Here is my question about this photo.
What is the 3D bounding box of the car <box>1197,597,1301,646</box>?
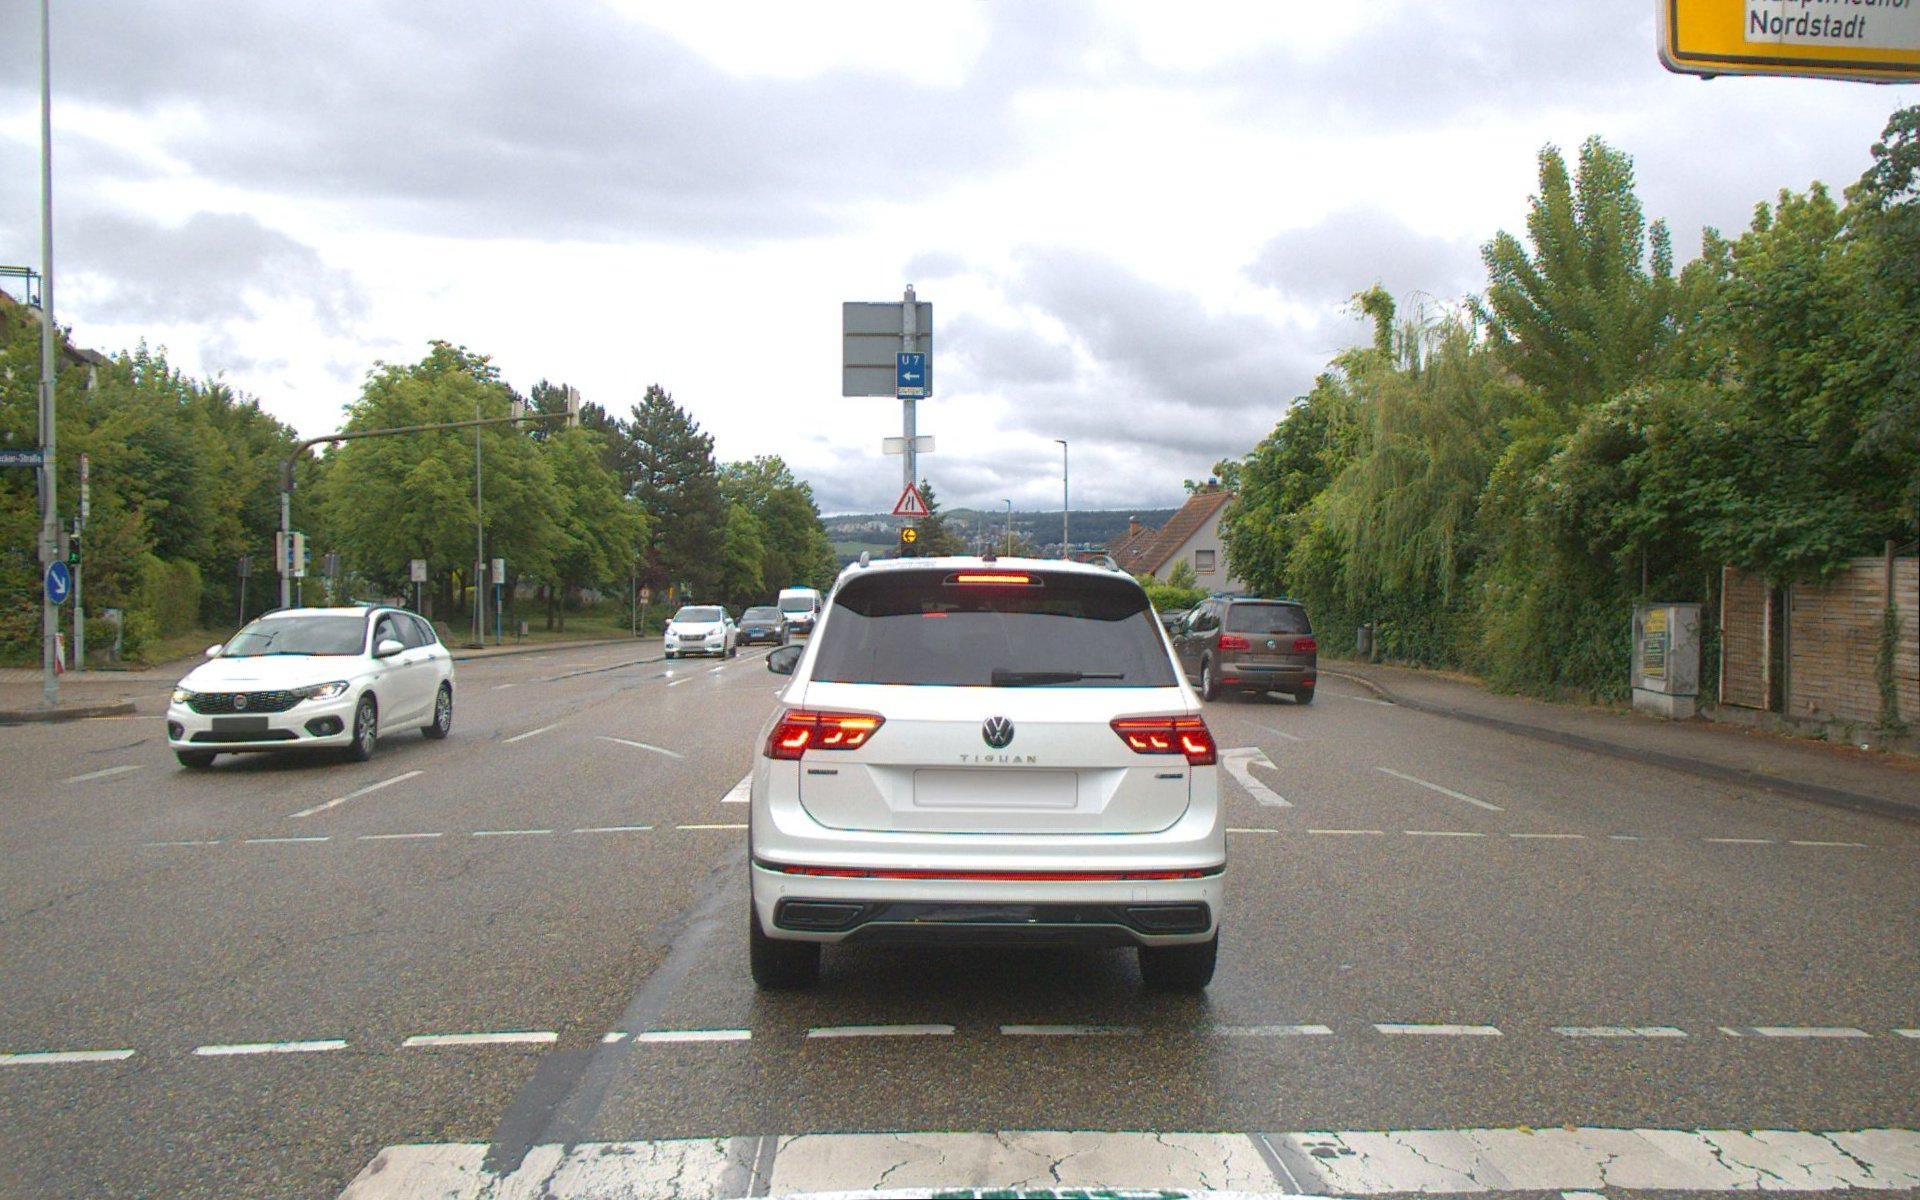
[{"bbox_3d":[10.820,0.795,62.063,3.556,1.777,1.706,0,0,-5],"label":"car"}]

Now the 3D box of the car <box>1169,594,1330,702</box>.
[{"bbox_3d":[4.635,0.719,27.041,1.701,1.602,4.066,1,0,-3],"label":"car"}]

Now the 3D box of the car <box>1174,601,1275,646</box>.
[{"bbox_3d":[10.335,0.901,64.670,3.556,1.654,1.790,1,1,-5],"label":"car"}]

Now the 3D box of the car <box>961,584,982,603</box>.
[{"bbox_3d":[1.019,-0.586,145.789,1.813,1.602,3.999,0,0,-1],"label":"car"}]

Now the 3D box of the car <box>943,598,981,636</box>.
[{"bbox_3d":[0.065,0.787,79.673,1.677,1.789,3.800,0,0,-2],"label":"car"}]

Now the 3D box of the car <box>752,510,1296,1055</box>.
[{"bbox_3d":[0.156,0.596,7.553,1.727,1.725,4.271,2,0,-2],"label":"car"}]

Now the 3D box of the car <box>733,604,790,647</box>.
[{"bbox_3d":[-7.585,0.961,63.579,1.740,1.528,4.470,-2,0,-2],"label":"car"}]

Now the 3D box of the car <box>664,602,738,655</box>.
[{"bbox_3d":[-7.422,0.792,47.683,1.711,1.421,3.800,0,0,-3],"label":"car"}]

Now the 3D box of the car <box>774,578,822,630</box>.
[{"bbox_3d":[-8.269,0.194,84.814,2.252,2.572,5.769,0,0,-4],"label":"car"}]

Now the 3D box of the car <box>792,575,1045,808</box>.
[{"bbox_3d":[-0.306,0.644,13.625,1.762,1.617,3.926,1,0,0],"label":"car"}]

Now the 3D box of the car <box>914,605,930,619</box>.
[{"bbox_3d":[-4.591,1.431,200.232,1.813,1.602,3.999,0,0,-1],"label":"car"}]

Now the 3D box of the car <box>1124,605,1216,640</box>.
[{"bbox_3d":[8.792,0.953,69.428,3.613,1.394,1.518,1,-2,-3],"label":"car"}]

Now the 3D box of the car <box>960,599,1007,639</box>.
[{"bbox_3d":[0.910,0.721,65.126,1.646,1.485,3.800,1,0,-2],"label":"car"}]

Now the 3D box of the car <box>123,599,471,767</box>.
[{"bbox_3d":[-6.664,0.807,17.189,1.927,1.480,4.307,-1,-2,-1],"label":"car"}]
